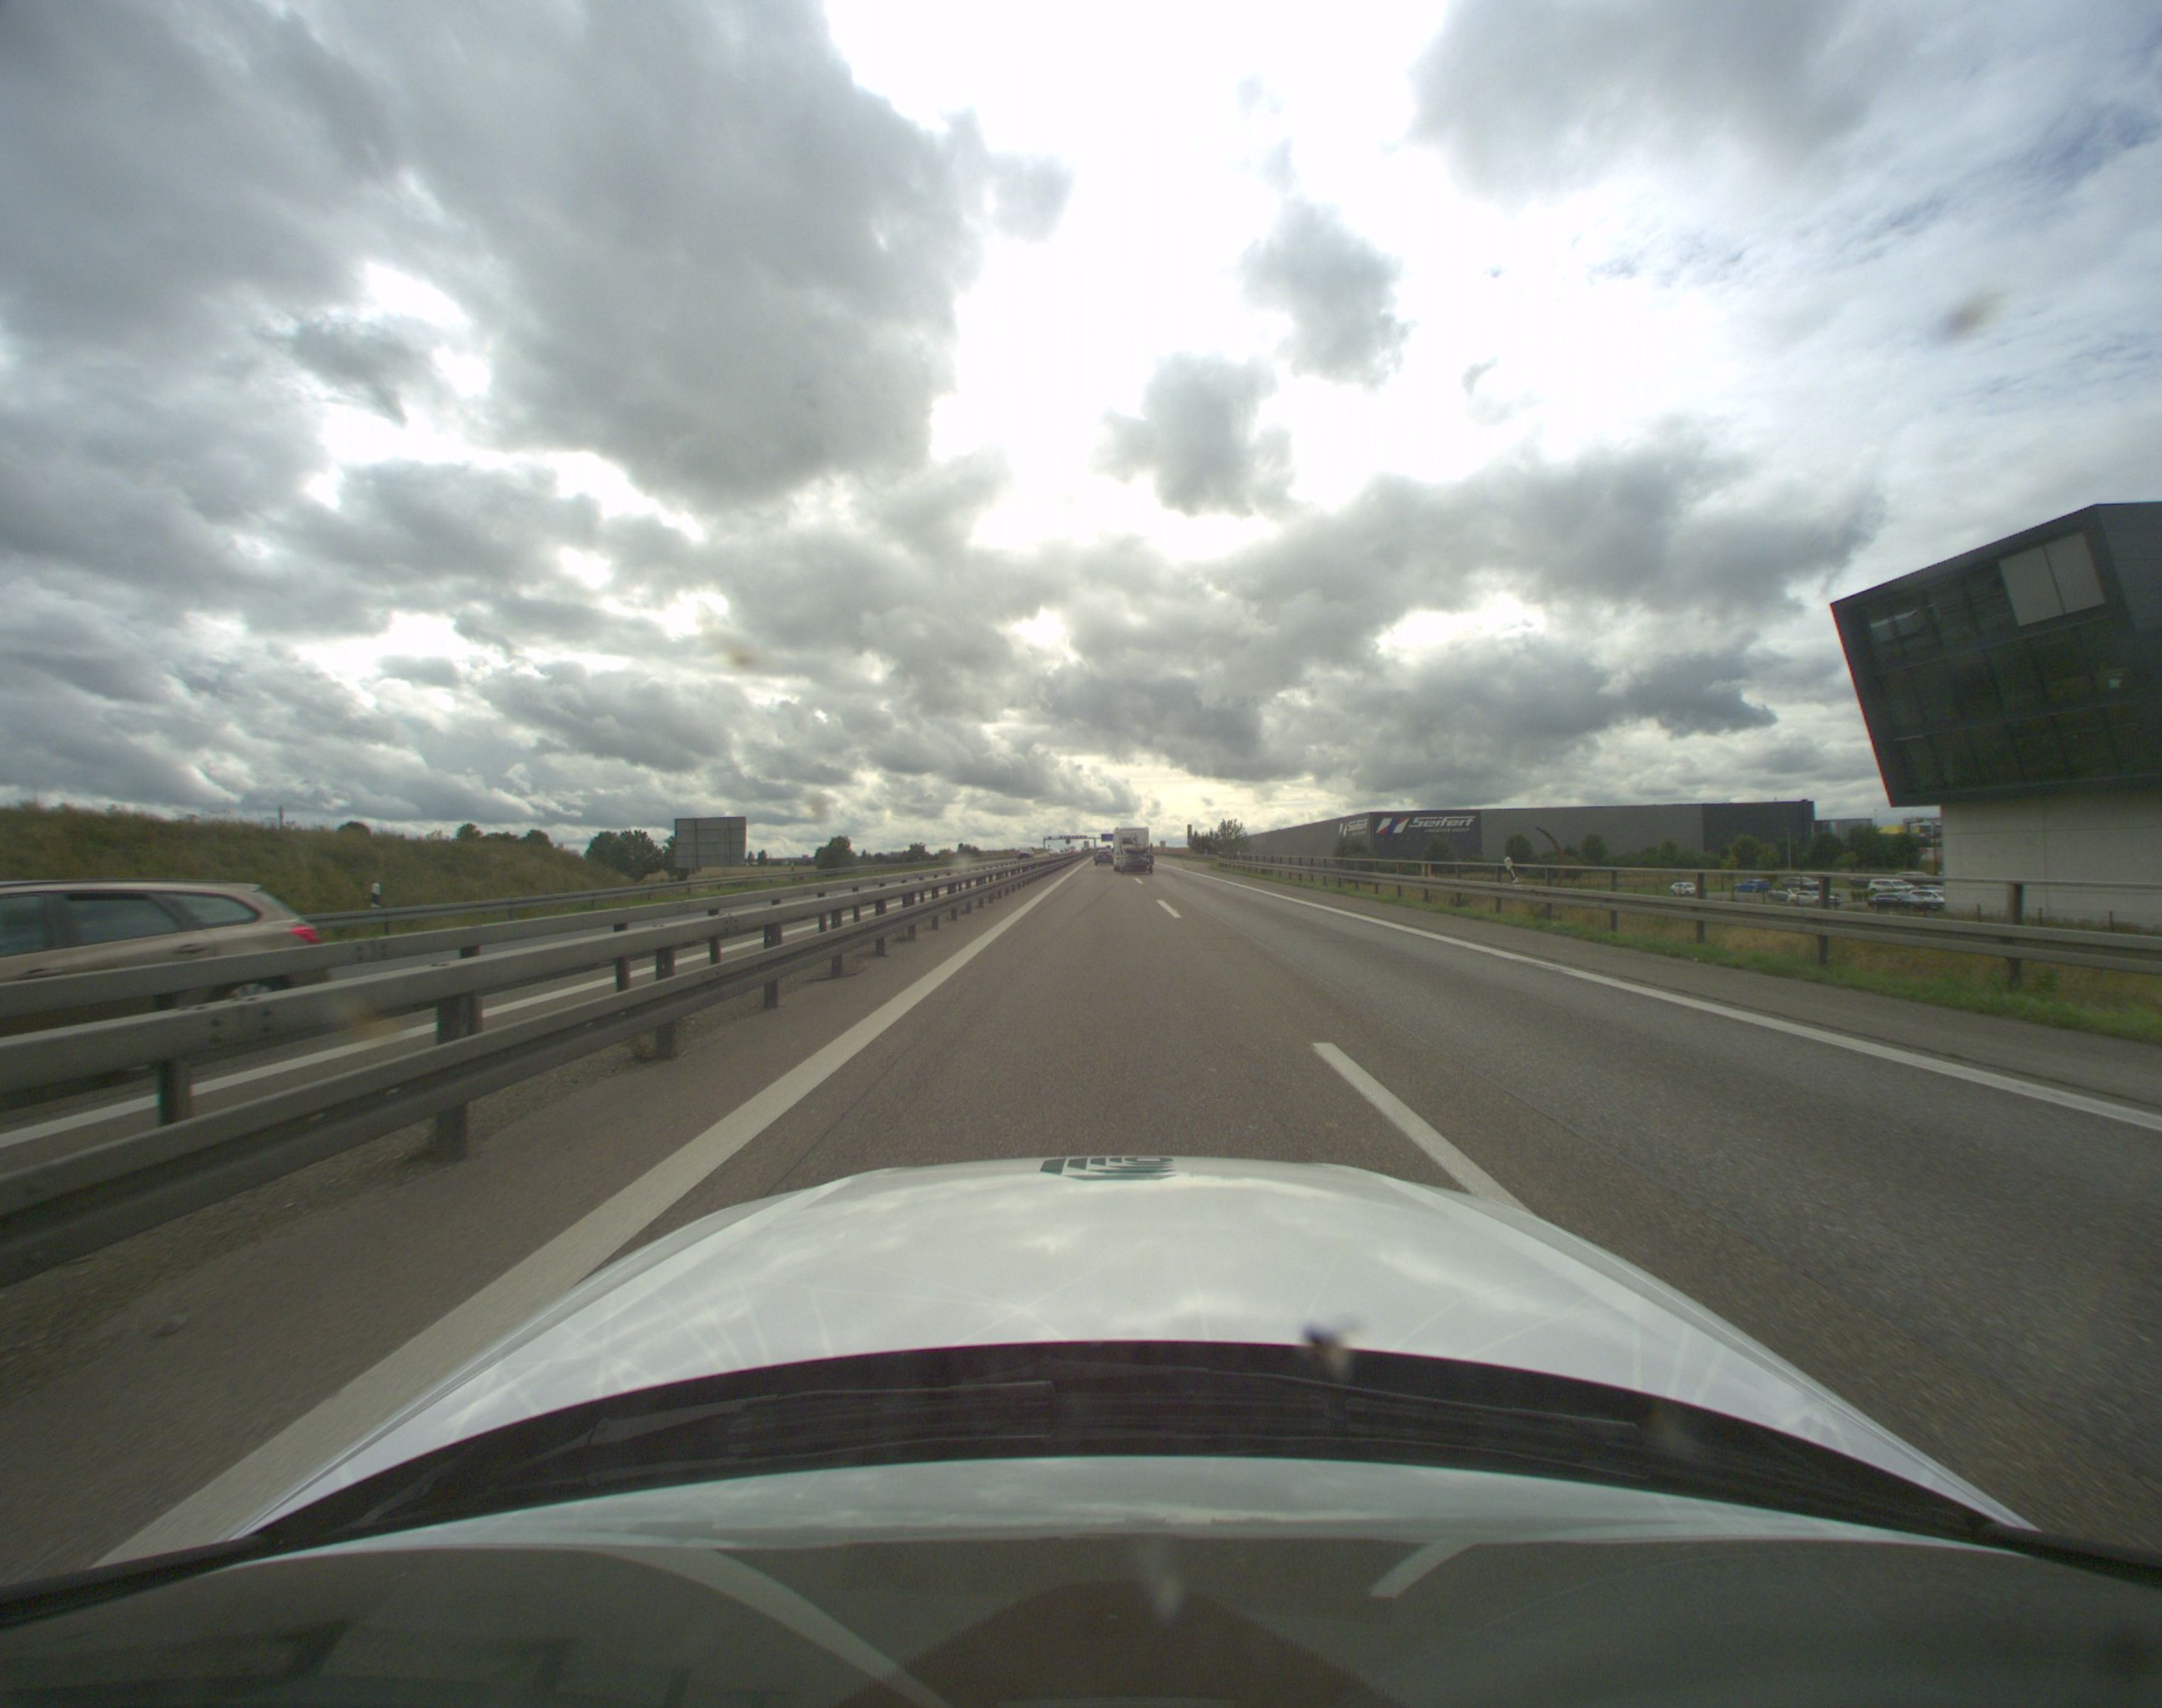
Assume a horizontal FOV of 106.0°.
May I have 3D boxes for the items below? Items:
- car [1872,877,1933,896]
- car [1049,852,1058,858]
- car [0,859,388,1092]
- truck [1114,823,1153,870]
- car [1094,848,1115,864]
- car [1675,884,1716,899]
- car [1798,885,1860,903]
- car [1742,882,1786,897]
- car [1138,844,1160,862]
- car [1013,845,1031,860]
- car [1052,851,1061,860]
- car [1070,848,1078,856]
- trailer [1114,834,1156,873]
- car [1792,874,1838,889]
[{"bbox_3d":[81.554,3.167,80.957,1.669,1.702,4.471,0,0,1],"label":"car"},{"bbox_3d":[-6.441,0.209,189.519,1.750,1.468,4.560,-1,0,1],"label":"car"},{"bbox_3d":[-7.979,0.821,5.811,1.899,1.513,4.731,-2,-1,2],"label":"car"},{"bbox_3d":[3.512,-0.455,55.604,2.472,2.950,5.817,-2,-1,2],"label":"truck"},{"bbox_3d":[2.278,0.197,77.458,1.738,1.453,4.004,-2,-1,4],"label":"car"},{"bbox_3d":[69.727,4.288,92.447,1.669,1.494,4.001,0,0,1],"label":"car"},{"bbox_3d":[69.138,3.681,75.363,1.669,1.494,4.565,0,0,1],"label":"car"},{"bbox_3d":[77.627,4.032,92.617,1.669,1.494,4.001,0,0,1],"label":"car"},{"bbox_3d":[6.527,-0.036,78.648,1.876,1.620,4.001,-2,-1,1],"label":"car"},{"bbox_3d":[-8.623,-0.251,120.067,1.986,2.013,6.104,-2,0,1],"label":"car"},{"bbox_3d":[-6.388,0.408,213.713,1.987,2.014,4.382,-2,-1,0],"label":"car"},{"bbox_3d":[-1.672,-0.444,205.679,1.987,2.013,4.383,-1,0,0],"label":"car"},{"bbox_3d":[3.207,-0.021,48.435,2.328,2.136,4.004,-2,-1,4],"label":"trailer"},{"bbox_3d":[82.487,3.039,91.552,1.669,1.494,4.001,0,0,1],"label":"car"}]
